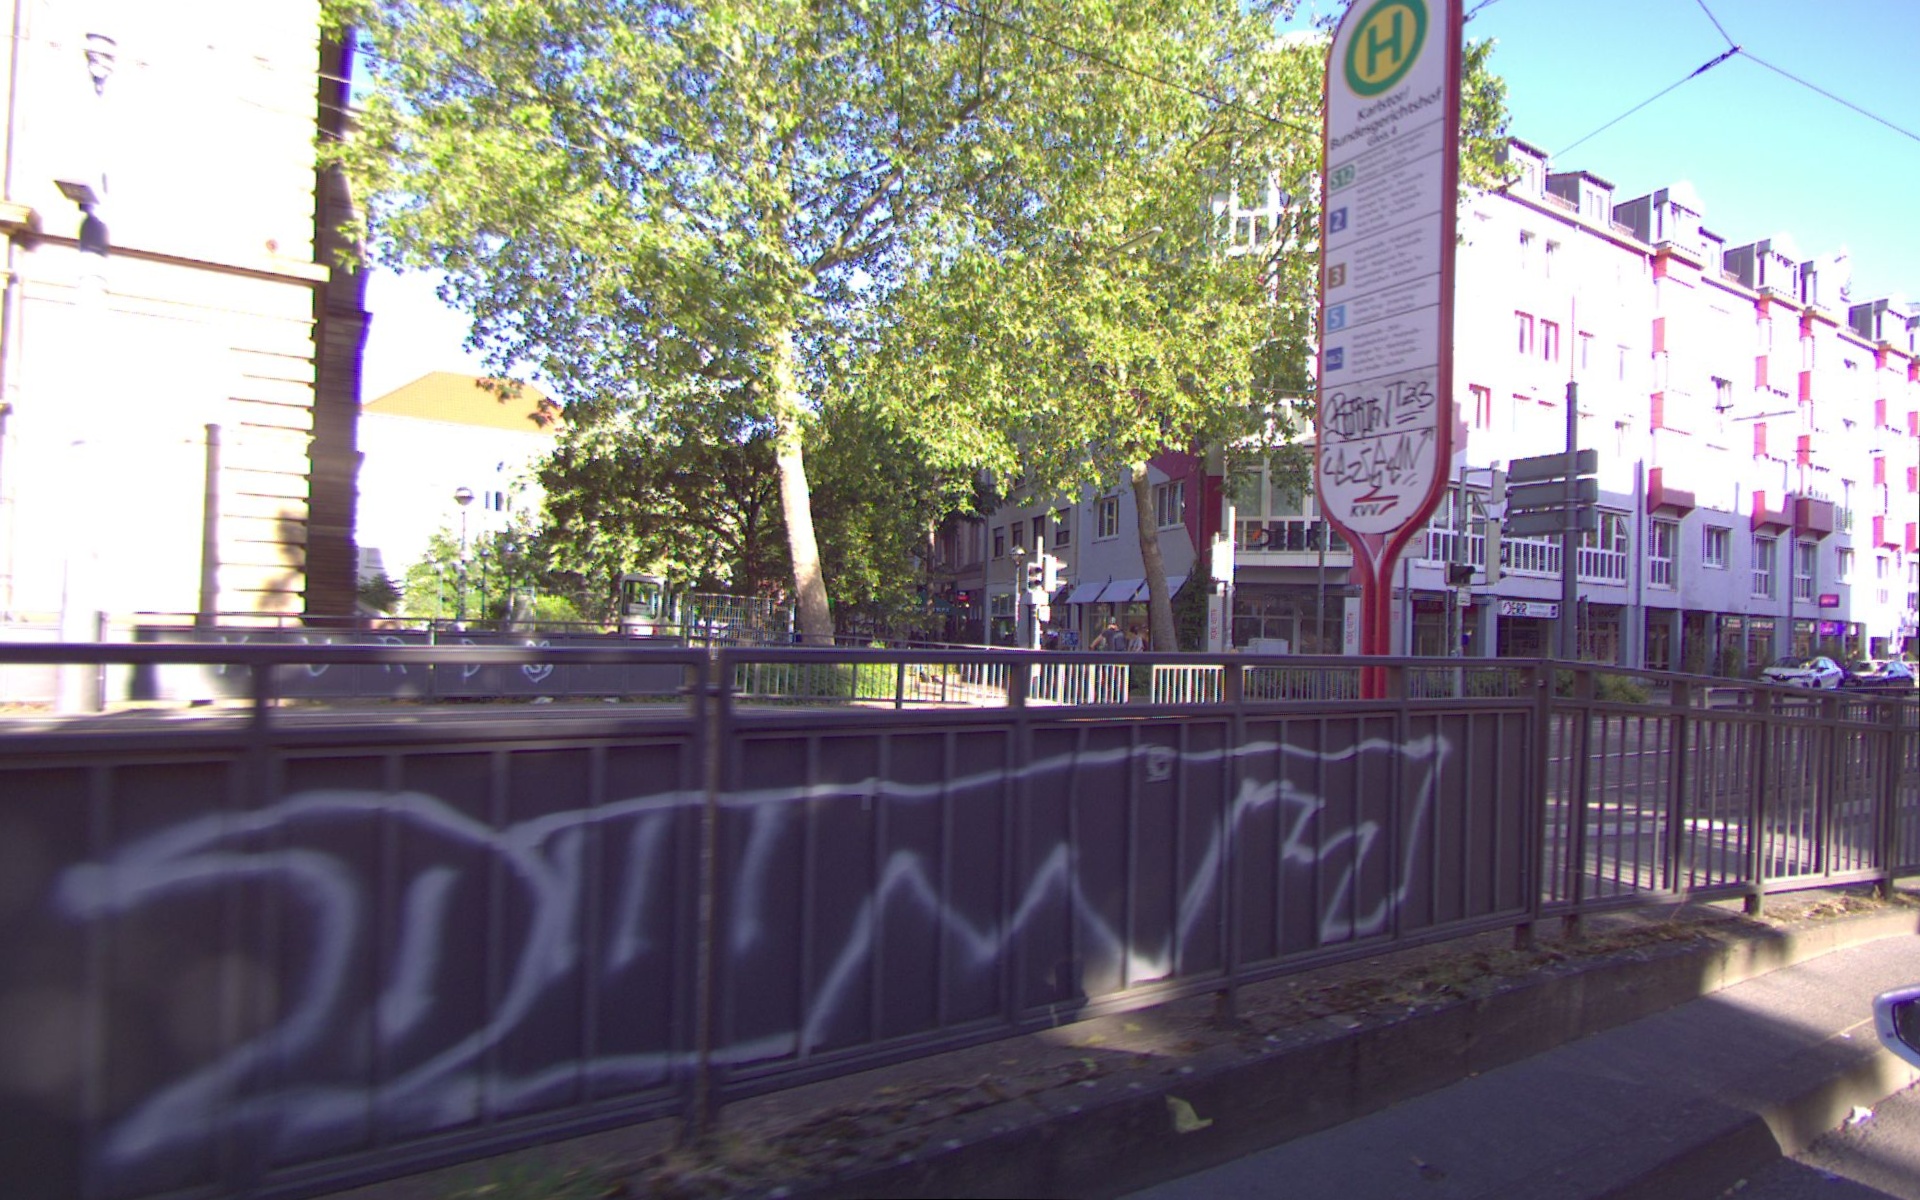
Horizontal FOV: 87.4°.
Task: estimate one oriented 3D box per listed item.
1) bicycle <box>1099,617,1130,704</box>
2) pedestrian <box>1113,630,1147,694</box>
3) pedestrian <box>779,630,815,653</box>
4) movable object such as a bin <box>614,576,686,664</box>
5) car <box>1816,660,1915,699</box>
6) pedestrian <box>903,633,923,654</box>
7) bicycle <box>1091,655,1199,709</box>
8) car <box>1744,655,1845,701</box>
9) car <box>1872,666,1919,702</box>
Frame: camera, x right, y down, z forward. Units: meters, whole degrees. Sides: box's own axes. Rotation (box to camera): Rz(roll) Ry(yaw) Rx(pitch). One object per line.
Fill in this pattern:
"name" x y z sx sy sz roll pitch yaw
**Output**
"bicycle" 3.165 1.238 20.628 0.572 1.738 0.648 2 -1 7
"pedestrian" 4.550 1.649 26.897 0.678 1.658 0.675 1 -2 27
"pedestrian" -7.581 1.923 46.720 1.257 1.008 1.239 3 -2 -33
"movable object such as a bin" -7.652 0.503 24.948 1.153 2.040 2.648 2 -1 -6
"car" 38.846 3.403 43.046 4.772 1.477 1.892 3 -2 -32
"pedestrian" -2.505 2.325 53.308 0.635 1.057 0.827 1 -2 45
"bicycle" 3.765 1.668 20.578 2.126 0.979 0.648 2 -1 7
"car" 32.901 3.072 39.582 4.324 1.635 1.906 3 -2 -34
"car" 43.426 3.839 45.826 4.164 1.494 1.741 3 -2 -34
